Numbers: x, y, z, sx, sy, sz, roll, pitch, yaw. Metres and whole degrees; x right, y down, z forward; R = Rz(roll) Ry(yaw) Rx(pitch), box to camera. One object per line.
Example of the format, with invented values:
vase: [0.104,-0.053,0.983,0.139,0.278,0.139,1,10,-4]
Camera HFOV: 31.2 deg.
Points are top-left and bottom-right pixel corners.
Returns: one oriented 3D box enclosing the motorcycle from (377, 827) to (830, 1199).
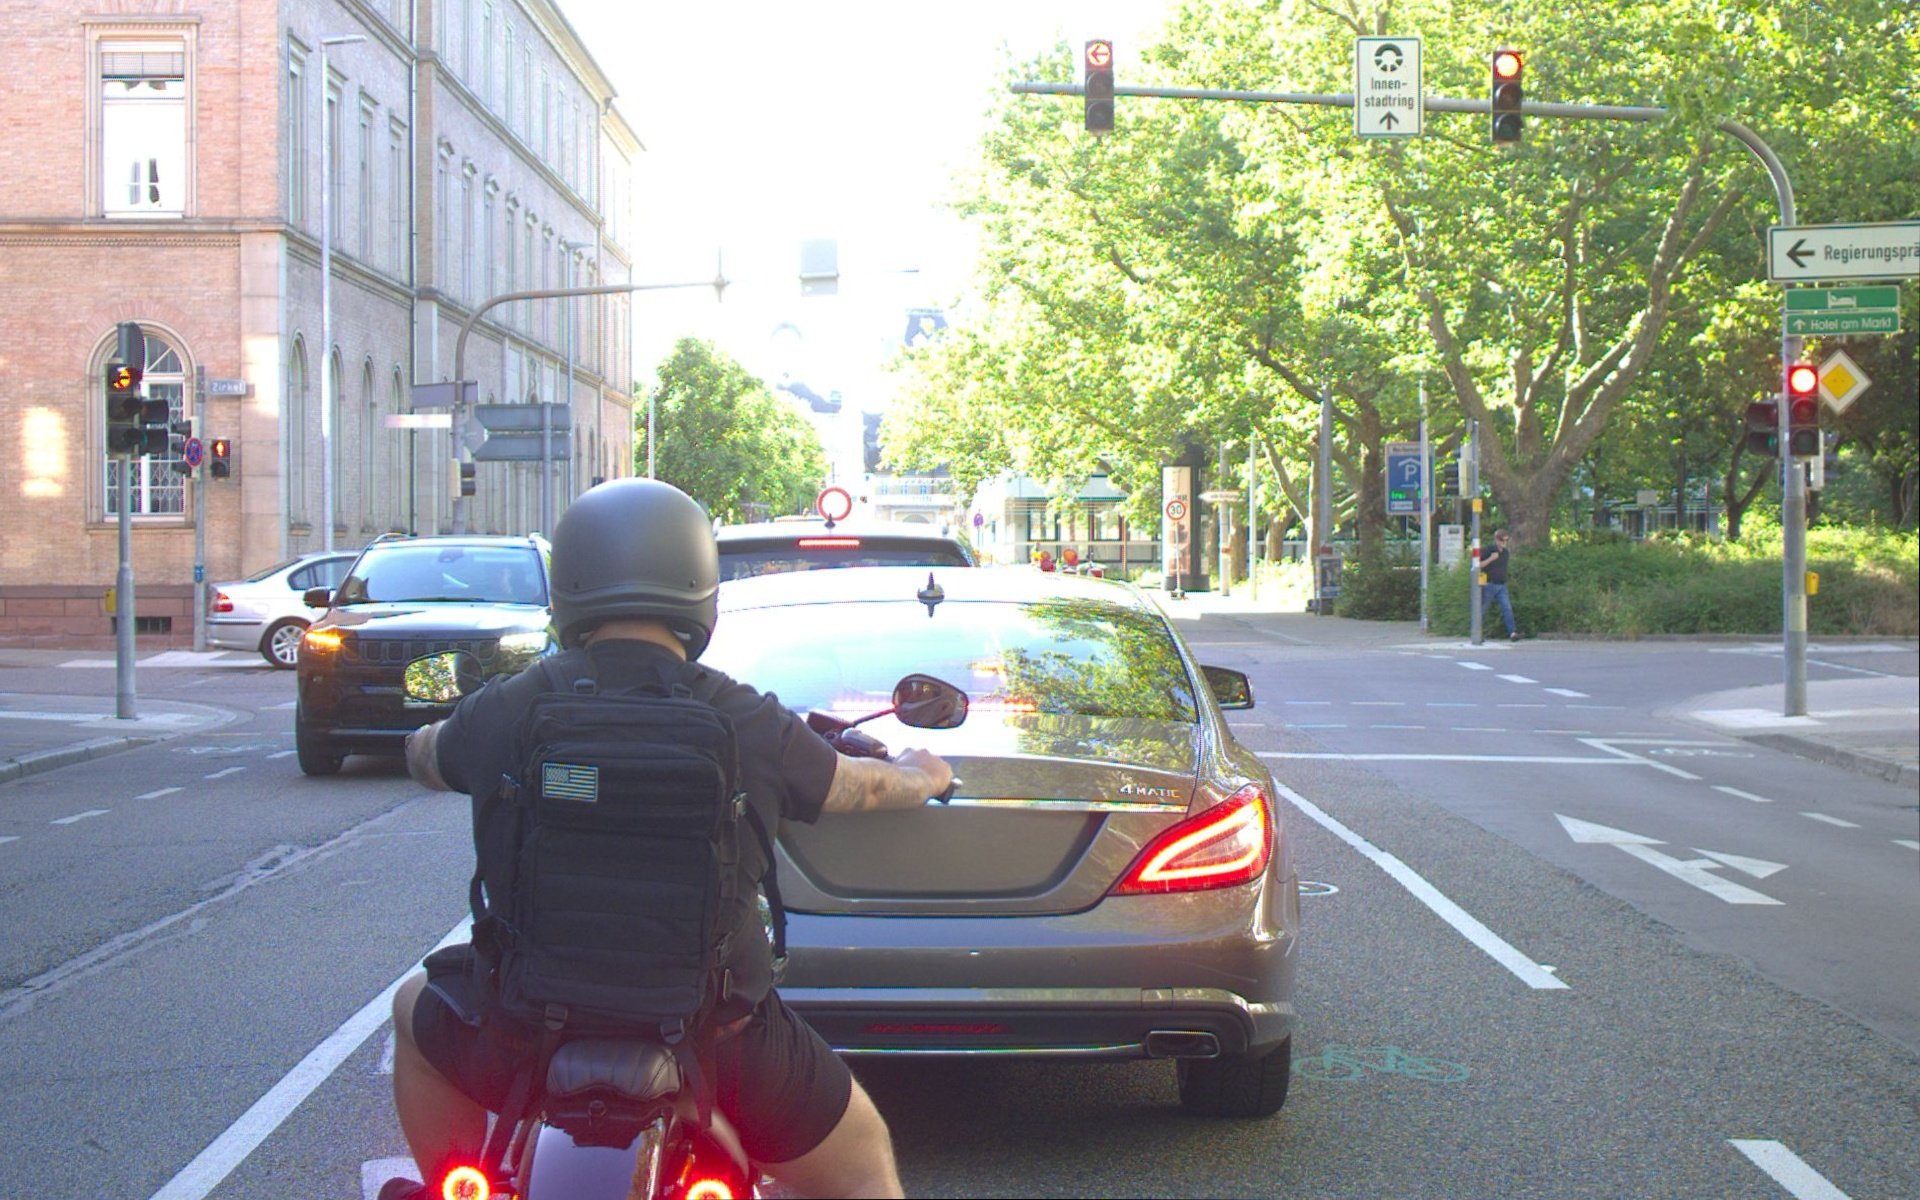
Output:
motorcycle: [-0.492,0.932,5.344,0.513,0.999,2.013,1,1,-1]

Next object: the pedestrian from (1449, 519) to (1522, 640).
pedestrian: [8.334,-0.323,54.548,0.749,1.903,0.926,1,0,-22]

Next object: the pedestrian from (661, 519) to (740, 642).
pedestrian: [-3.925,-0.298,51.999,1.002,1.820,1.076,1,0,6]

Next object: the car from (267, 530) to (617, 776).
car: [-3.572,0.323,24.451,1.850,1.565,4.386,1,1,-1]

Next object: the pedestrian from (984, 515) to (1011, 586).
pedestrian: [1.096,-1.454,100.836,0.764,2.044,0.712,1,0,-1]

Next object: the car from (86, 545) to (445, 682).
car: [-8.365,0.159,41.325,4.121,1.569,1.859,1,0,-14]

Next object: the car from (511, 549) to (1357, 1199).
car: [-0.080,0.600,9.640,1.882,1.444,3.820,1,1,-1]

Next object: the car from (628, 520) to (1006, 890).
car: [-0.634,0.415,16.756,1.621,1.588,4.000,0,1,-1]

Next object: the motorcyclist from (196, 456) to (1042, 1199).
motorcyclist: [-0.480,0.600,5.375,1.149,1.593,1.288,1,0,-1]
